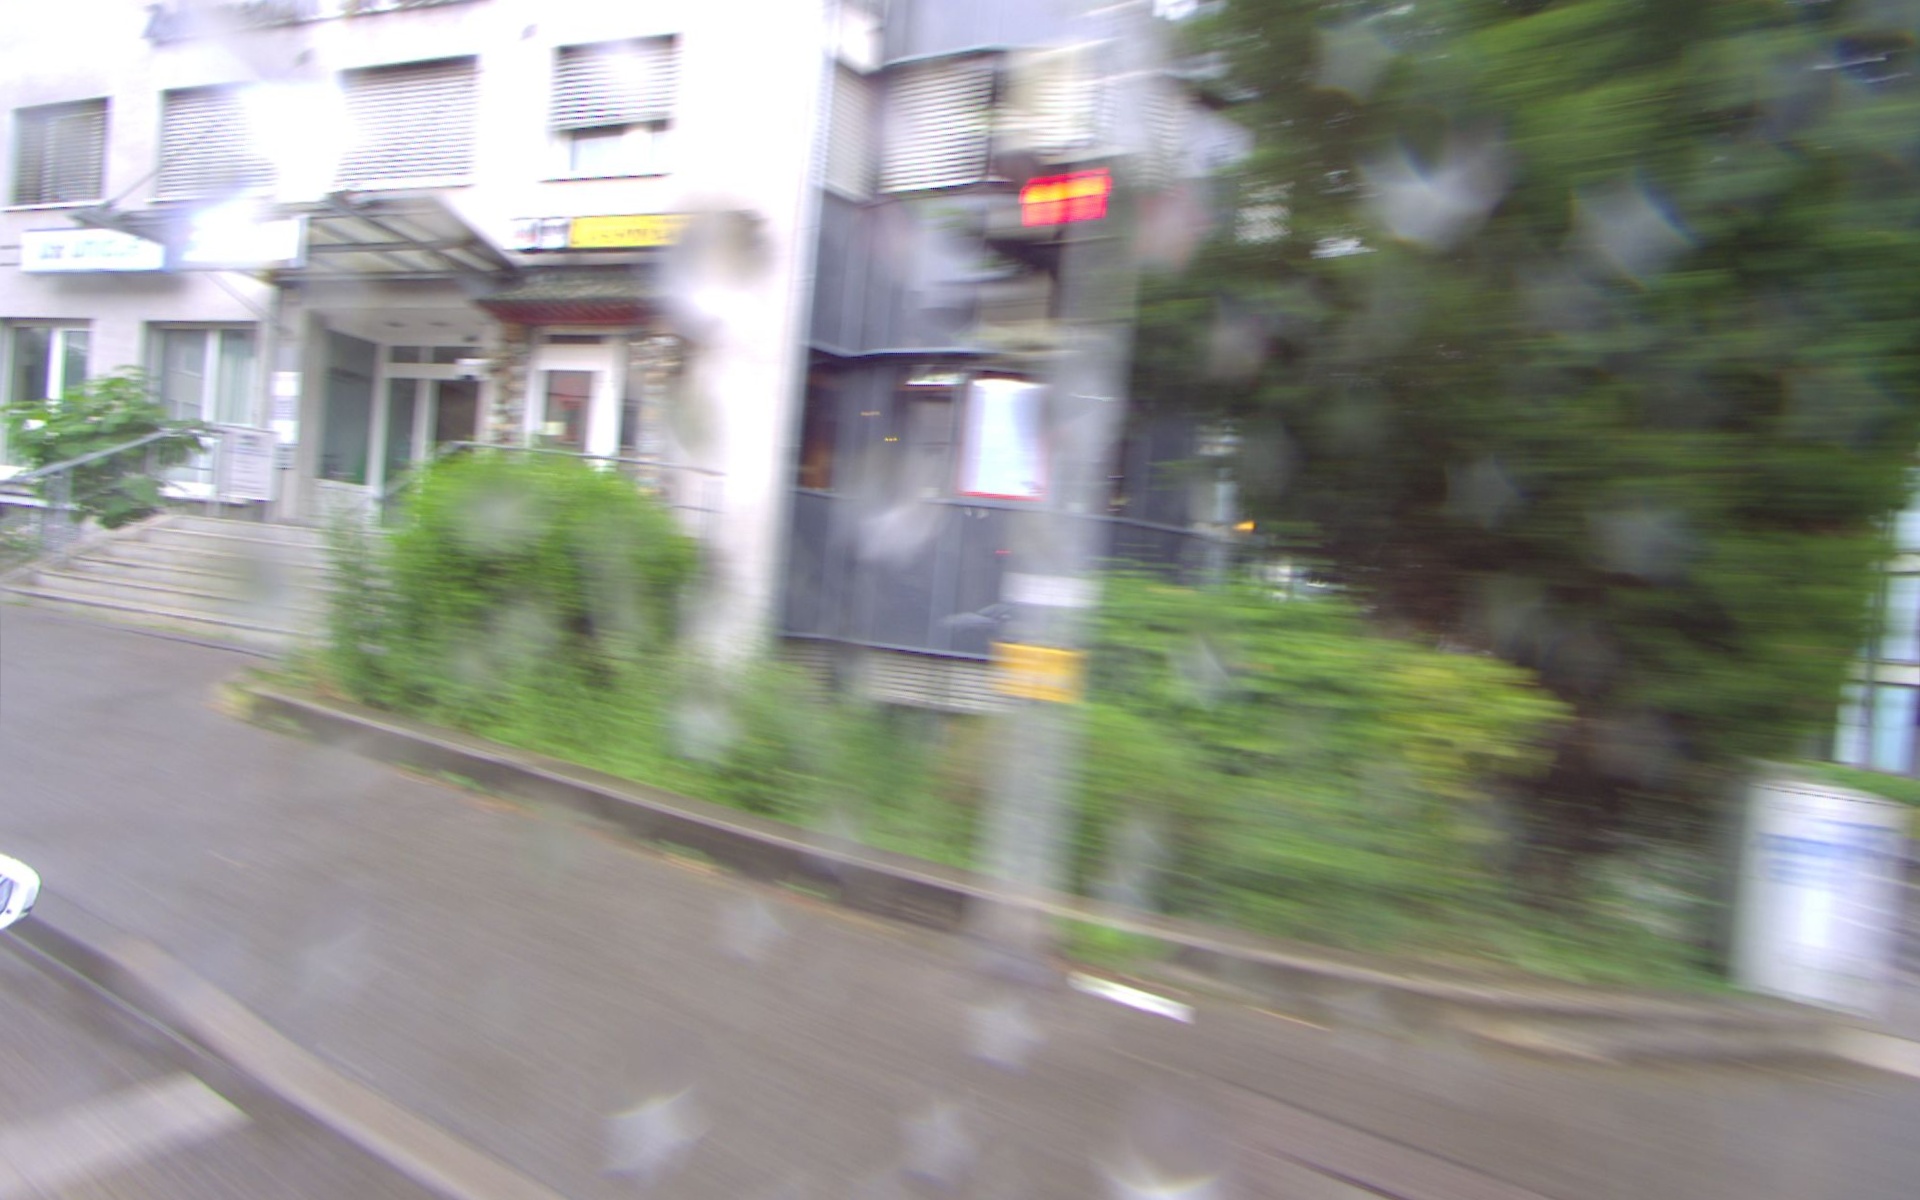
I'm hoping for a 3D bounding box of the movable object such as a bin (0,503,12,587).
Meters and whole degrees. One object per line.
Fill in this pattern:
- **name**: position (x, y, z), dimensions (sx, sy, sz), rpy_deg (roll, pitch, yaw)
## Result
- **movable object such as a bin**: position (-11.187, -0.639, 11.422), dimensions (0.510, 0.957, 0.595), rpy_deg (8, 3, -43)
